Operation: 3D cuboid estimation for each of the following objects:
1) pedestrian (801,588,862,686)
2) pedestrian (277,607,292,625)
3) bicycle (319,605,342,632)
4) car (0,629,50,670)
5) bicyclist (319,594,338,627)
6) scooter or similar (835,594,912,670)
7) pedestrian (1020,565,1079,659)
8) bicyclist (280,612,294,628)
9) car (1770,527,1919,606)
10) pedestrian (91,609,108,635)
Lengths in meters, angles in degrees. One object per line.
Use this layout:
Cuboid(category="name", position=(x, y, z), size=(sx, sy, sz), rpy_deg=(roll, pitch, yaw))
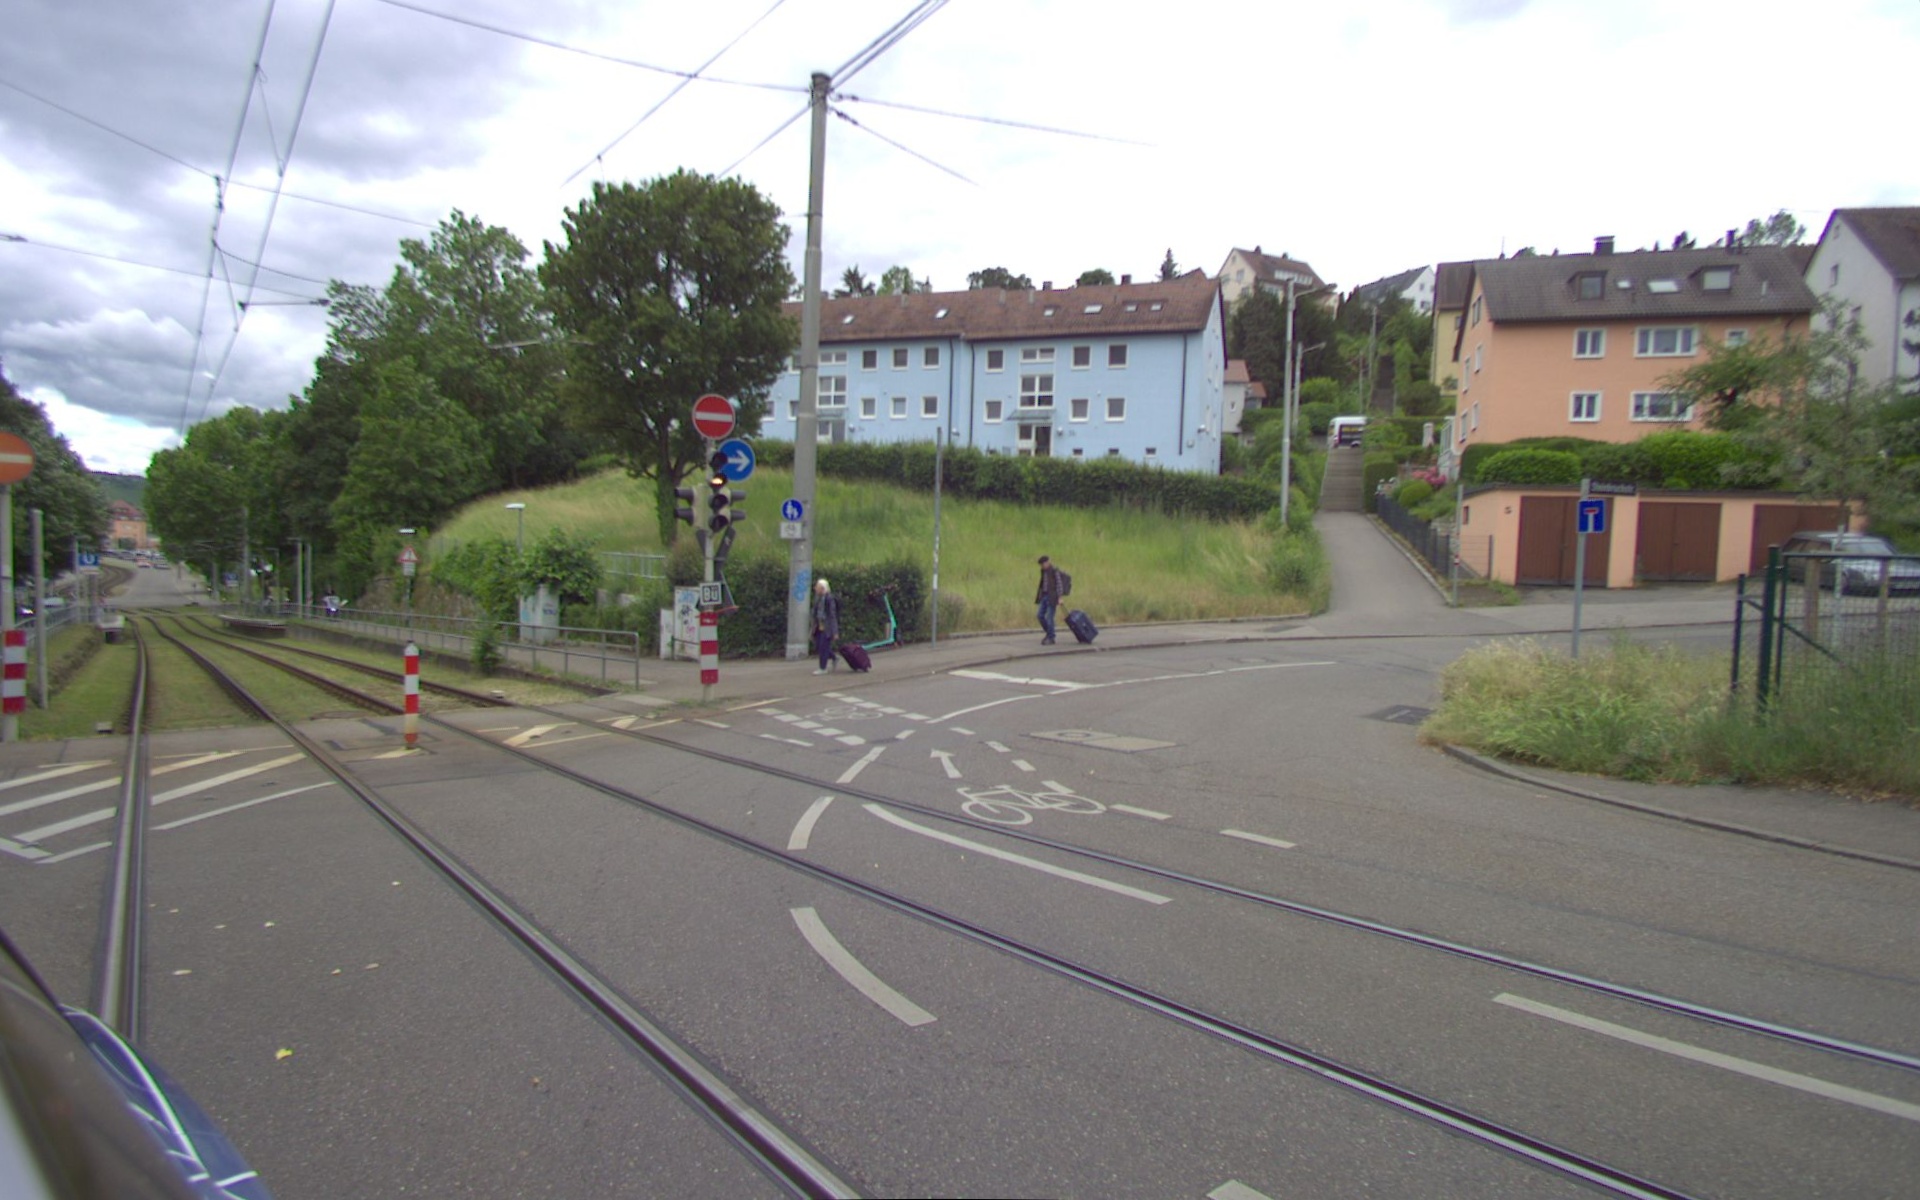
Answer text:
Cuboid(category="pedestrian", position=(-2.154, 0.597, 16.944), size=(0.740, 1.586, 0.759), rpy_deg=(-1, 1, -32))
Cuboid(category="pedestrian", position=(-51.821, 1.225, 77.626), size=(0.775, 1.333, 0.811), rpy_deg=(1, 1, 44))
Cuboid(category="bicycle", position=(-31.515, 0.922, 50.653), size=(0.740, 1.249, 2.873), rpy_deg=(-2, 0, -36))
Cuboid(category="car", position=(-40.005, 2.074, 42.904), size=(1.969, 1.563, 4.006), rpy_deg=(-3, 1, -41))
Cuboid(category="bicyclist", position=(-31.943, 0.530, 51.216), size=(0.695, 1.641, 1.035), rpy_deg=(-2, 0, -36))
Cuboid(category="scooter or similar", position=(-1.624, 0.587, 19.168), size=(1.391, 1.298, 0.419), rpy_deg=(-6, 4, -39))
Cuboid(category="pedestrian", position=(1.730, 0.220, 19.645), size=(0.887, 1.763, 0.745), rpy_deg=(-1, 1, -26))
Cuboid(category="bicyclist", position=(-43.938, 1.300, 66.082), size=(0.680, 1.061, 0.746), rpy_deg=(-1, -1, -40))
Cuboid(category="car", position=(22.850, -0.915, 25.585), size=(1.983, 1.624, 4.855), rpy_deg=(0, 6, 17))
Cuboid(category="pedestrian", position=(-50.802, 1.286, 59.740), size=(0.727, 1.514, 0.628), rpy_deg=(-1, 0, -39))
